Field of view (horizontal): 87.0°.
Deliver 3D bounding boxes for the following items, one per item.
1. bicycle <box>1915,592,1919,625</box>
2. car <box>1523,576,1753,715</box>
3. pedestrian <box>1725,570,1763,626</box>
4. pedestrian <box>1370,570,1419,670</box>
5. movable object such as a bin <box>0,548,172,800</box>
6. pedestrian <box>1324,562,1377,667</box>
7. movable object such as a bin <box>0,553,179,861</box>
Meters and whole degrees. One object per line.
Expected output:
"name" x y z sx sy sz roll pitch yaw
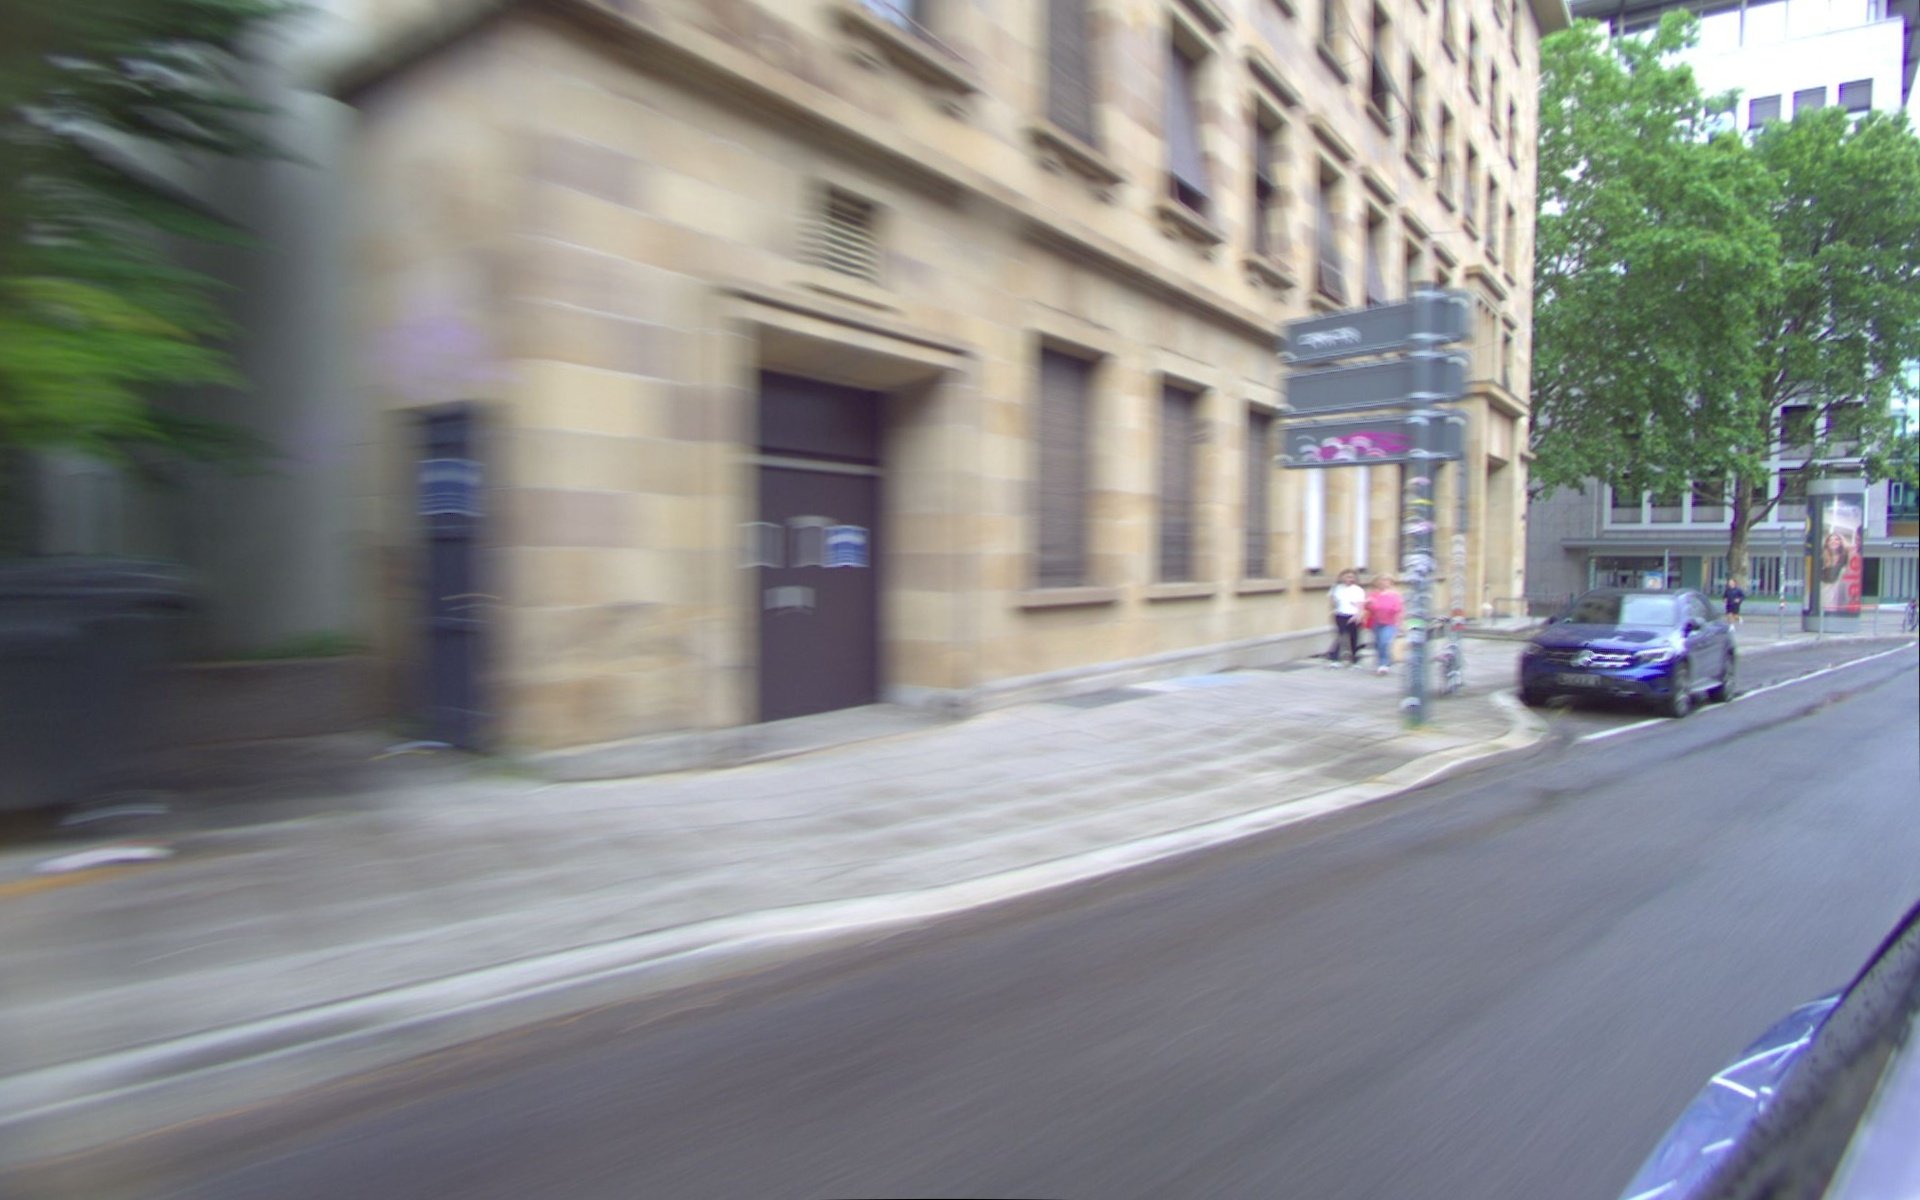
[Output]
"bicycle" 31.155 0.283 32.583 1.896 1.025 0.489 -1 2 -44
"car" 9.619 0.500 14.237 4.088 1.639 1.771 -1 3 -43
"pedestrian" 25.725 -0.062 33.211 0.847 1.793 0.781 0 2 -39
"pedestrian" 6.843 0.296 15.941 0.523 1.510 0.665 2 2 38
"movable object such as a bin" -5.496 0.378 6.040 1.212 1.326 1.242 0 4 -40
"pedestrian" 6.205 0.216 16.078 0.524 1.622 0.663 2 2 44
"movable object such as a bin" -4.640 0.457 4.986 1.212 1.326 1.242 0 4 -40
